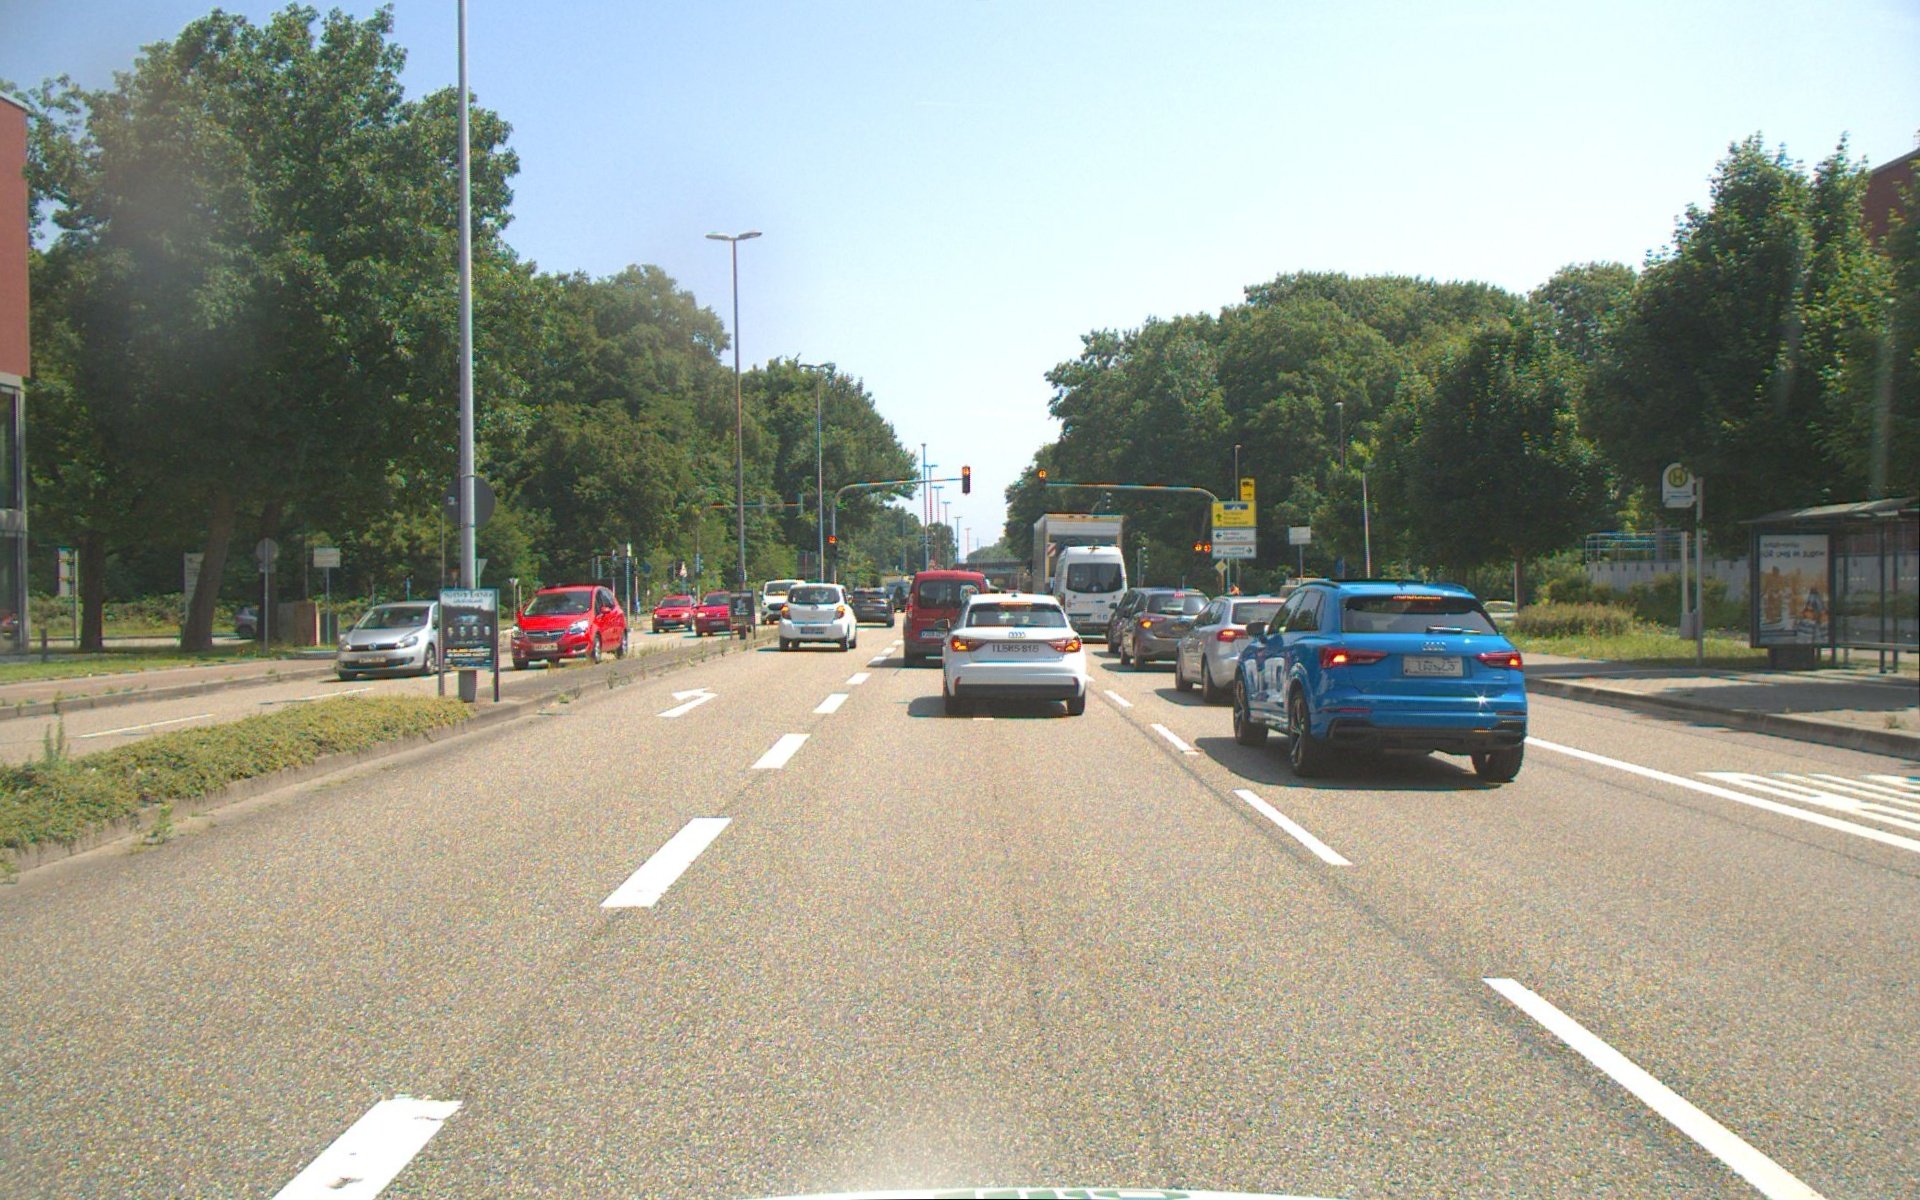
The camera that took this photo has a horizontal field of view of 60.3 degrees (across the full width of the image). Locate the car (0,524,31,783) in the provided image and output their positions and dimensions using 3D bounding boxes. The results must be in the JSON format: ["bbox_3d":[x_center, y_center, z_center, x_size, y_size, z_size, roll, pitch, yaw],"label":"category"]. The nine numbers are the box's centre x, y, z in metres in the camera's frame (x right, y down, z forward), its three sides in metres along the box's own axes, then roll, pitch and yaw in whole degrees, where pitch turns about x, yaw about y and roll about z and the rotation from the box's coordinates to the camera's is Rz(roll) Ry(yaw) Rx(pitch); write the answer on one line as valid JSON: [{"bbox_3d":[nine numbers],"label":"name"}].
[{"bbox_3d":[-8.101,0.476,10.528,1.814,1.938,4.425,-4,1,-1],"label":"car"}]

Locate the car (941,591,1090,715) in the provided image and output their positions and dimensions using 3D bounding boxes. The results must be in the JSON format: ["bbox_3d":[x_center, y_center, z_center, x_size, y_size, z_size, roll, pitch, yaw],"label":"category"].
[{"bbox_3d":[0.621,0.603,21.067,1.677,1.410,4.091,0,0,-1],"label":"car"}]

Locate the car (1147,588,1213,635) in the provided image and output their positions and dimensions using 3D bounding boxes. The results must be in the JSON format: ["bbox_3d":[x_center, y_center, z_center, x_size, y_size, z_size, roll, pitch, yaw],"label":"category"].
[{"bbox_3d":[7.733,0.374,58.428,1.677,1.573,4.091,0,0,-1],"label":"car"}]

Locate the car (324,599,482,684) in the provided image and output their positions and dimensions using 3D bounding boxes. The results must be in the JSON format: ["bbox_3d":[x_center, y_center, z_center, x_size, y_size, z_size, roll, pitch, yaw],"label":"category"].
[{"bbox_3d":[-11.118,0.790,33.283,1.713,1.476,4.133,-3,1,0],"label":"car"}]

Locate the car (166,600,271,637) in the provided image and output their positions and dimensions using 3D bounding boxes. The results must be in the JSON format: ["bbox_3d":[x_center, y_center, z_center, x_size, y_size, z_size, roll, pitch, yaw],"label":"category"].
[{"bbox_3d":[-36.125,0.902,80.674,4.292,1.711,1.806,1,-1,-11],"label":"car"}]

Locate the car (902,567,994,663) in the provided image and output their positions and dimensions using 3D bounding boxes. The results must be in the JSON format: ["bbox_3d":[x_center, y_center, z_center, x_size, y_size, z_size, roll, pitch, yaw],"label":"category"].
[{"bbox_3d":[-0.260,0.262,32.484,1.677,1.779,4.091,0,0,-1],"label":"car"}]

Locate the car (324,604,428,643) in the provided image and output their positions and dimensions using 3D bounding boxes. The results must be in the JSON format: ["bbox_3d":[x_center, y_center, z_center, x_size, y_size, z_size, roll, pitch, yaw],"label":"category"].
[{"bbox_3d":[-27.344,1.090,77.573,4.288,1.711,1.807,1,0,-8],"label":"car"}]

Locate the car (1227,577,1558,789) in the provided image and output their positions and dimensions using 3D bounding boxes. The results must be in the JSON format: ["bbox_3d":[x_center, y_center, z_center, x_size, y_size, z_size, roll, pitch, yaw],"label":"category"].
[{"bbox_3d":[3.664,0.614,14.849,1.800,1.623,4.400,0,0,-1],"label":"car"}]

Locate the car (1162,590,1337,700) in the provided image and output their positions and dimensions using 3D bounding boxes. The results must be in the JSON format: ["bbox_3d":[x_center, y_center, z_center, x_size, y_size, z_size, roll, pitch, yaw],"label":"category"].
[{"bbox_3d":[4.007,0.570,23.512,1.677,1.386,4.091,1,0,-1],"label":"car"}]

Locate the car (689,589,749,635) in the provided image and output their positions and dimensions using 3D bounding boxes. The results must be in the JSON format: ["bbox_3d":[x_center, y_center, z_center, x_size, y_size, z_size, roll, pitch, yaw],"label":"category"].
[{"bbox_3d":[-8.254,0.384,56.777,1.548,1.466,3.608,-3,0,-1],"label":"car"}]

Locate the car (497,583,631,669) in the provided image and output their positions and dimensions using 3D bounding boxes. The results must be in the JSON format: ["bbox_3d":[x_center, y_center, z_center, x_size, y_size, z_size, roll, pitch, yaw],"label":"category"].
[{"bbox_3d":[-8.145,0.487,34.334,1.713,1.597,4.153,-3,1,0],"label":"car"}]

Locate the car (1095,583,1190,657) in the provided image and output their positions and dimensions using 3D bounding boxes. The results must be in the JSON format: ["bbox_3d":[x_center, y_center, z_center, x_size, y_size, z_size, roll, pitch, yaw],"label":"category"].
[{"bbox_3d":[4.174,0.418,38.432,1.677,1.621,4.091,0,0,-1],"label":"car"}]

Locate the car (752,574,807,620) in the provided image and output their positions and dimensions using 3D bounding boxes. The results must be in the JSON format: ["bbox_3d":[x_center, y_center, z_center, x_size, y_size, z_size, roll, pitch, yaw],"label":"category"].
[{"bbox_3d":[-8.348,-0.150,76.870,1.953,1.979,4.907,-3,0,-1],"label":"car"}]

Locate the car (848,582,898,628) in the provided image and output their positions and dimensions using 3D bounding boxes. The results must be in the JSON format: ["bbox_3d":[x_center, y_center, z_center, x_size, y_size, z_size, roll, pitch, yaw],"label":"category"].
[{"bbox_3d":[-3.243,0.178,62.480,1.738,1.670,4.036,0,0,-1],"label":"car"}]

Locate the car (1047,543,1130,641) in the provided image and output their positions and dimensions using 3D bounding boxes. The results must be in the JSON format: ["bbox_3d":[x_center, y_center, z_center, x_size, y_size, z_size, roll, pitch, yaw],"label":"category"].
[{"bbox_3d":[3.664,-0.240,47.978,1.989,2.690,4.845,0,0,0],"label":"car"}]

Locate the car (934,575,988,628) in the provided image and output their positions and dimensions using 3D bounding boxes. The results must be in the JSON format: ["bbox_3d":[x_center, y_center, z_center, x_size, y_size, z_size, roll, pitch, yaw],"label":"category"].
[{"bbox_3d":[0.005,0.040,54.057,1.677,1.660,4.091,0,0,-1],"label":"car"}]

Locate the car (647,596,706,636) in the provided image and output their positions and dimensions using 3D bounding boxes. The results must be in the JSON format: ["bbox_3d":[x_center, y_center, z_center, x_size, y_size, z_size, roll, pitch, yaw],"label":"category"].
[{"bbox_3d":[-11.649,0.628,68.084,1.671,1.478,3.891,-3,0,0],"label":"car"}]

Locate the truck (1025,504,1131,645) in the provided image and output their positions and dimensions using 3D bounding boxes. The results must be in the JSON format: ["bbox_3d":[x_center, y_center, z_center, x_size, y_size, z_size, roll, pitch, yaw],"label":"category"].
[{"bbox_3d":[4.041,-0.870,59.251,3.025,4.511,11.580,1,0,0],"label":"truck"}]

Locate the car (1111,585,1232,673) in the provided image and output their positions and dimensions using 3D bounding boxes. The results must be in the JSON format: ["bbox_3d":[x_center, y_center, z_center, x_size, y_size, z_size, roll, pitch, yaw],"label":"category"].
[{"bbox_3d":[4.018,0.512,32.053,1.677,1.504,4.091,3,0,-1],"label":"car"}]

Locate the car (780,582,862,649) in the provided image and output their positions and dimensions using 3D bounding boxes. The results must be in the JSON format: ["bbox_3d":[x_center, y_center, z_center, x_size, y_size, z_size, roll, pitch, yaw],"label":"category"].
[{"bbox_3d":[-3.255,0.339,39.351,1.677,1.519,4.091,0,0,-1],"label":"car"}]
